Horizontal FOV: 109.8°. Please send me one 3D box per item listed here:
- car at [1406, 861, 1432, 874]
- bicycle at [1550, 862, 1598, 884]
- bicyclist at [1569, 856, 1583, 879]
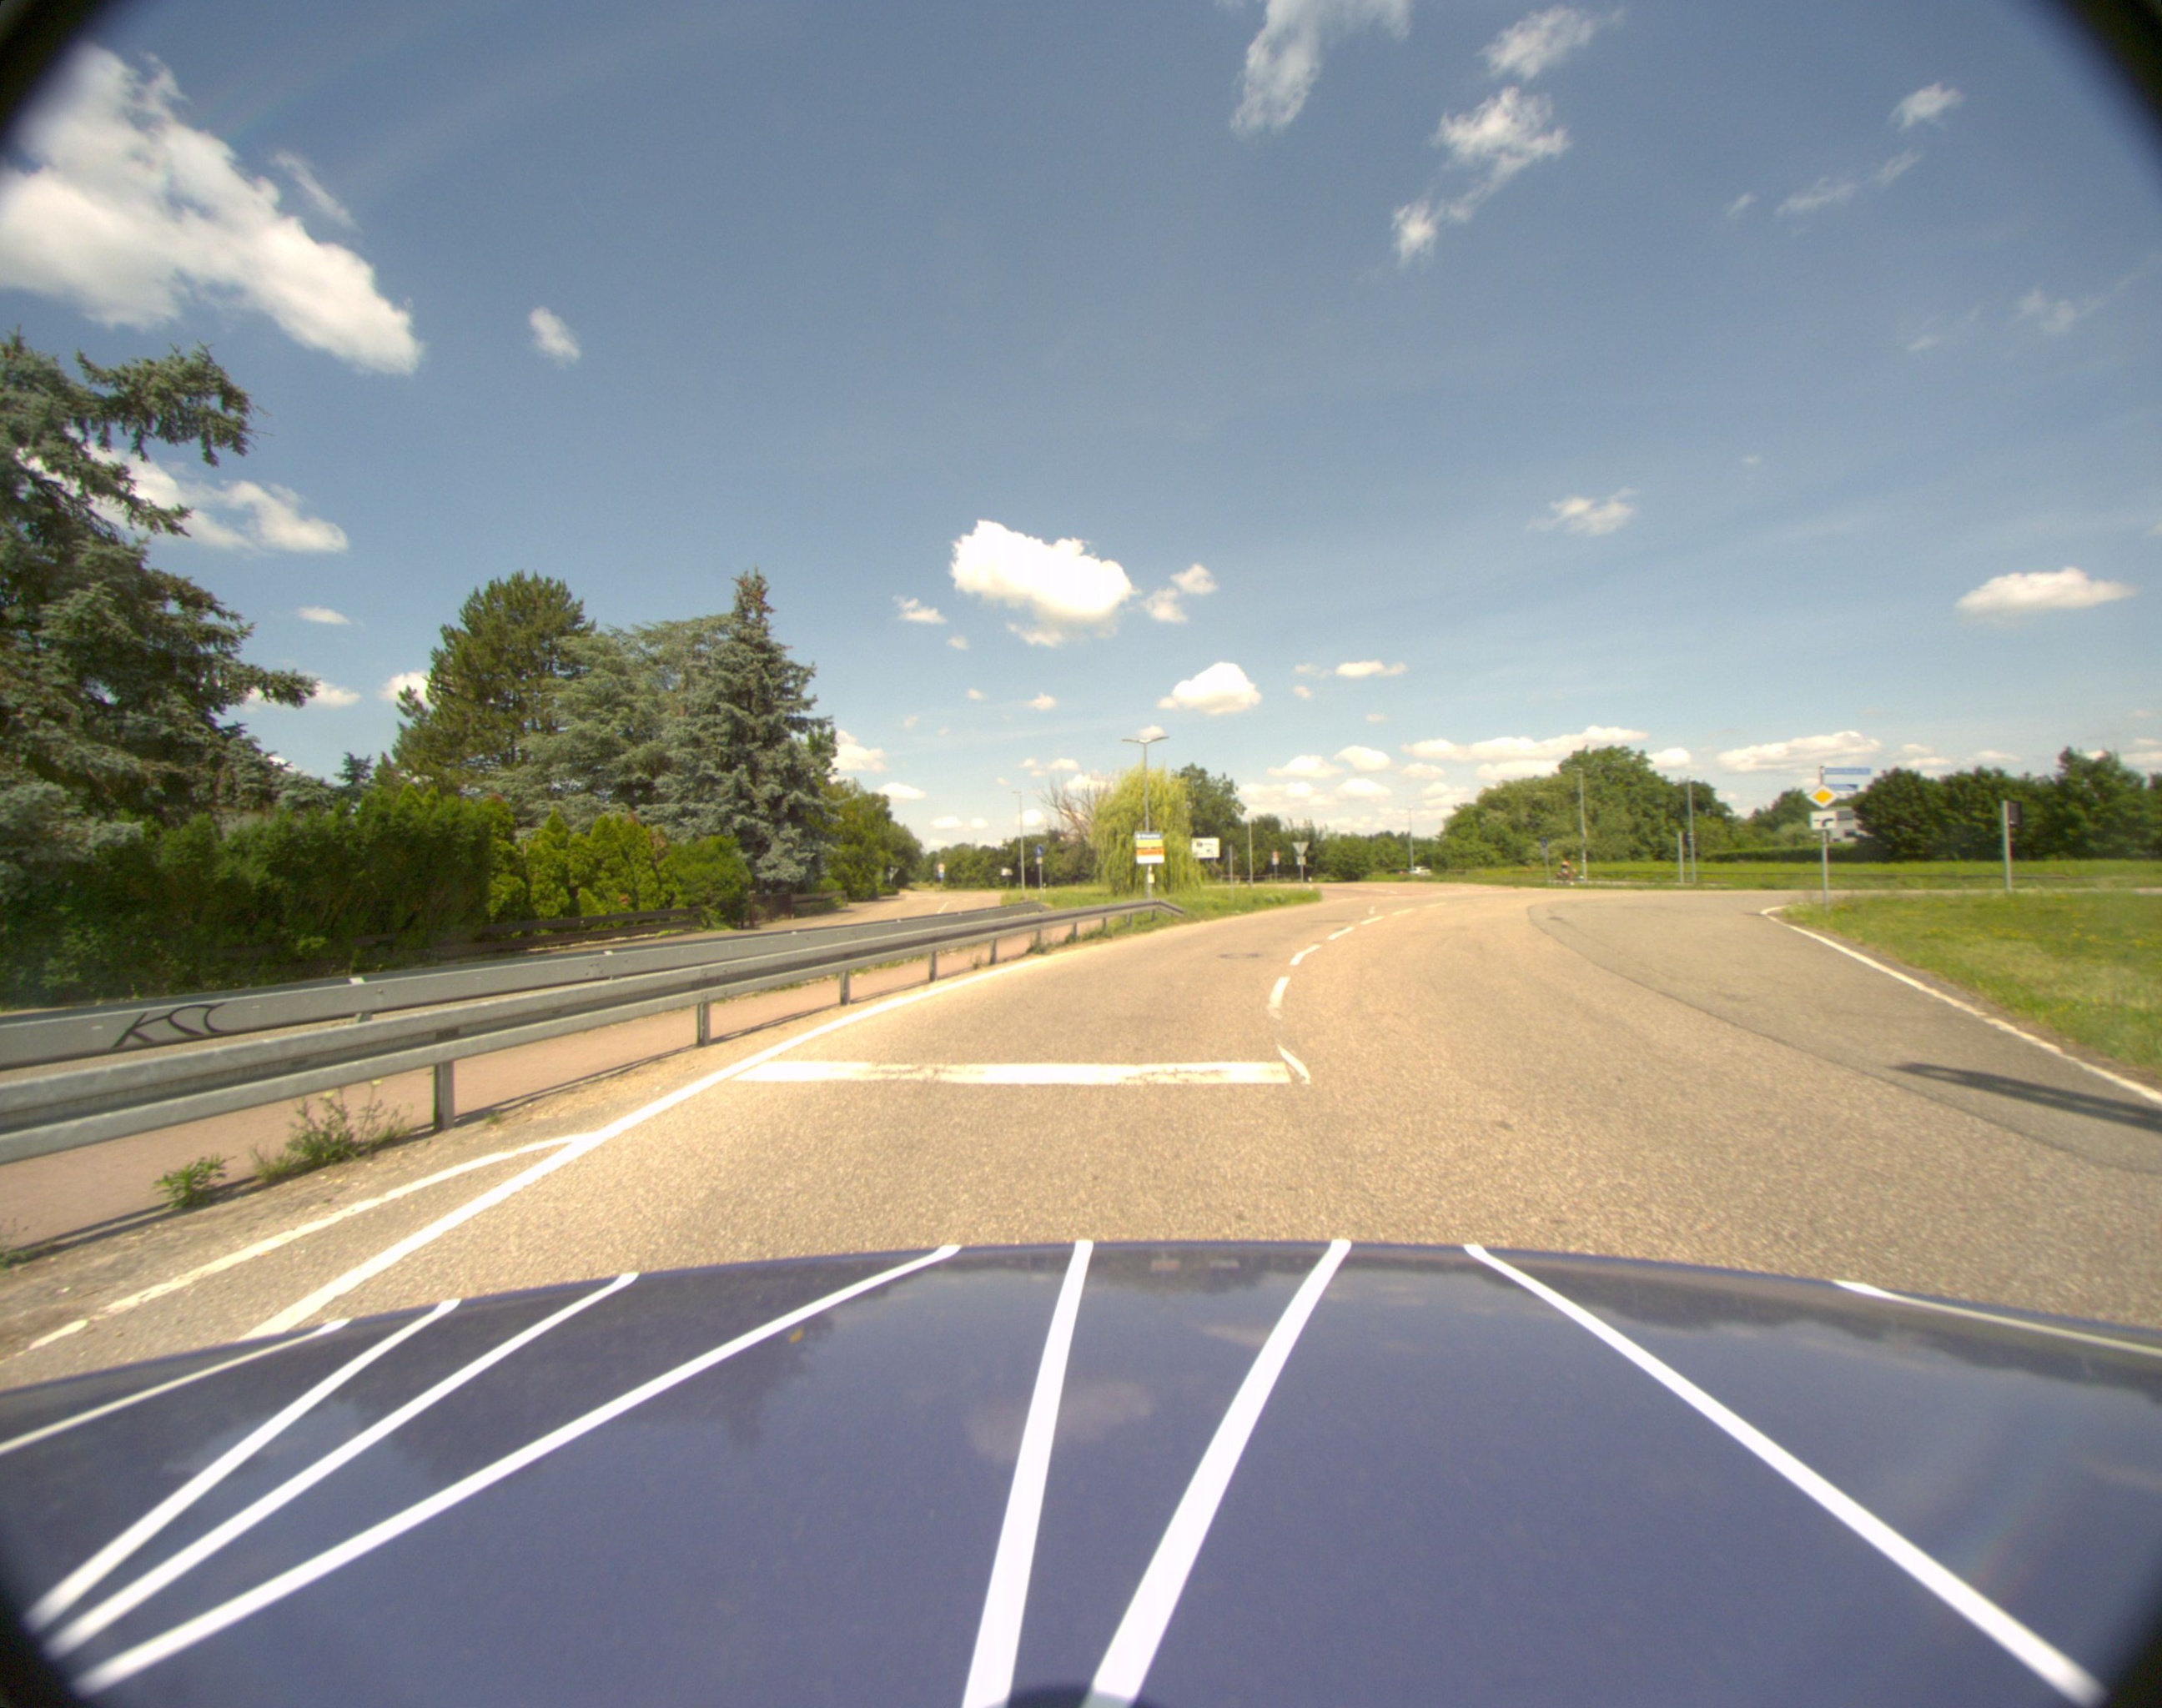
[{"bbox_3d":[41.753,1.682,93.945,1.418,1.495,3.117,-2,-2,-8],"label":"car"},{"bbox_3d":[27.563,1.067,42.483,2.143,1.157,0.662,-2,-1,9],"label":"bicycle"},{"bbox_3d":[27.627,0.765,42.417,0.511,1.248,0.470,-1,-1,9],"label":"bicyclist"}]
